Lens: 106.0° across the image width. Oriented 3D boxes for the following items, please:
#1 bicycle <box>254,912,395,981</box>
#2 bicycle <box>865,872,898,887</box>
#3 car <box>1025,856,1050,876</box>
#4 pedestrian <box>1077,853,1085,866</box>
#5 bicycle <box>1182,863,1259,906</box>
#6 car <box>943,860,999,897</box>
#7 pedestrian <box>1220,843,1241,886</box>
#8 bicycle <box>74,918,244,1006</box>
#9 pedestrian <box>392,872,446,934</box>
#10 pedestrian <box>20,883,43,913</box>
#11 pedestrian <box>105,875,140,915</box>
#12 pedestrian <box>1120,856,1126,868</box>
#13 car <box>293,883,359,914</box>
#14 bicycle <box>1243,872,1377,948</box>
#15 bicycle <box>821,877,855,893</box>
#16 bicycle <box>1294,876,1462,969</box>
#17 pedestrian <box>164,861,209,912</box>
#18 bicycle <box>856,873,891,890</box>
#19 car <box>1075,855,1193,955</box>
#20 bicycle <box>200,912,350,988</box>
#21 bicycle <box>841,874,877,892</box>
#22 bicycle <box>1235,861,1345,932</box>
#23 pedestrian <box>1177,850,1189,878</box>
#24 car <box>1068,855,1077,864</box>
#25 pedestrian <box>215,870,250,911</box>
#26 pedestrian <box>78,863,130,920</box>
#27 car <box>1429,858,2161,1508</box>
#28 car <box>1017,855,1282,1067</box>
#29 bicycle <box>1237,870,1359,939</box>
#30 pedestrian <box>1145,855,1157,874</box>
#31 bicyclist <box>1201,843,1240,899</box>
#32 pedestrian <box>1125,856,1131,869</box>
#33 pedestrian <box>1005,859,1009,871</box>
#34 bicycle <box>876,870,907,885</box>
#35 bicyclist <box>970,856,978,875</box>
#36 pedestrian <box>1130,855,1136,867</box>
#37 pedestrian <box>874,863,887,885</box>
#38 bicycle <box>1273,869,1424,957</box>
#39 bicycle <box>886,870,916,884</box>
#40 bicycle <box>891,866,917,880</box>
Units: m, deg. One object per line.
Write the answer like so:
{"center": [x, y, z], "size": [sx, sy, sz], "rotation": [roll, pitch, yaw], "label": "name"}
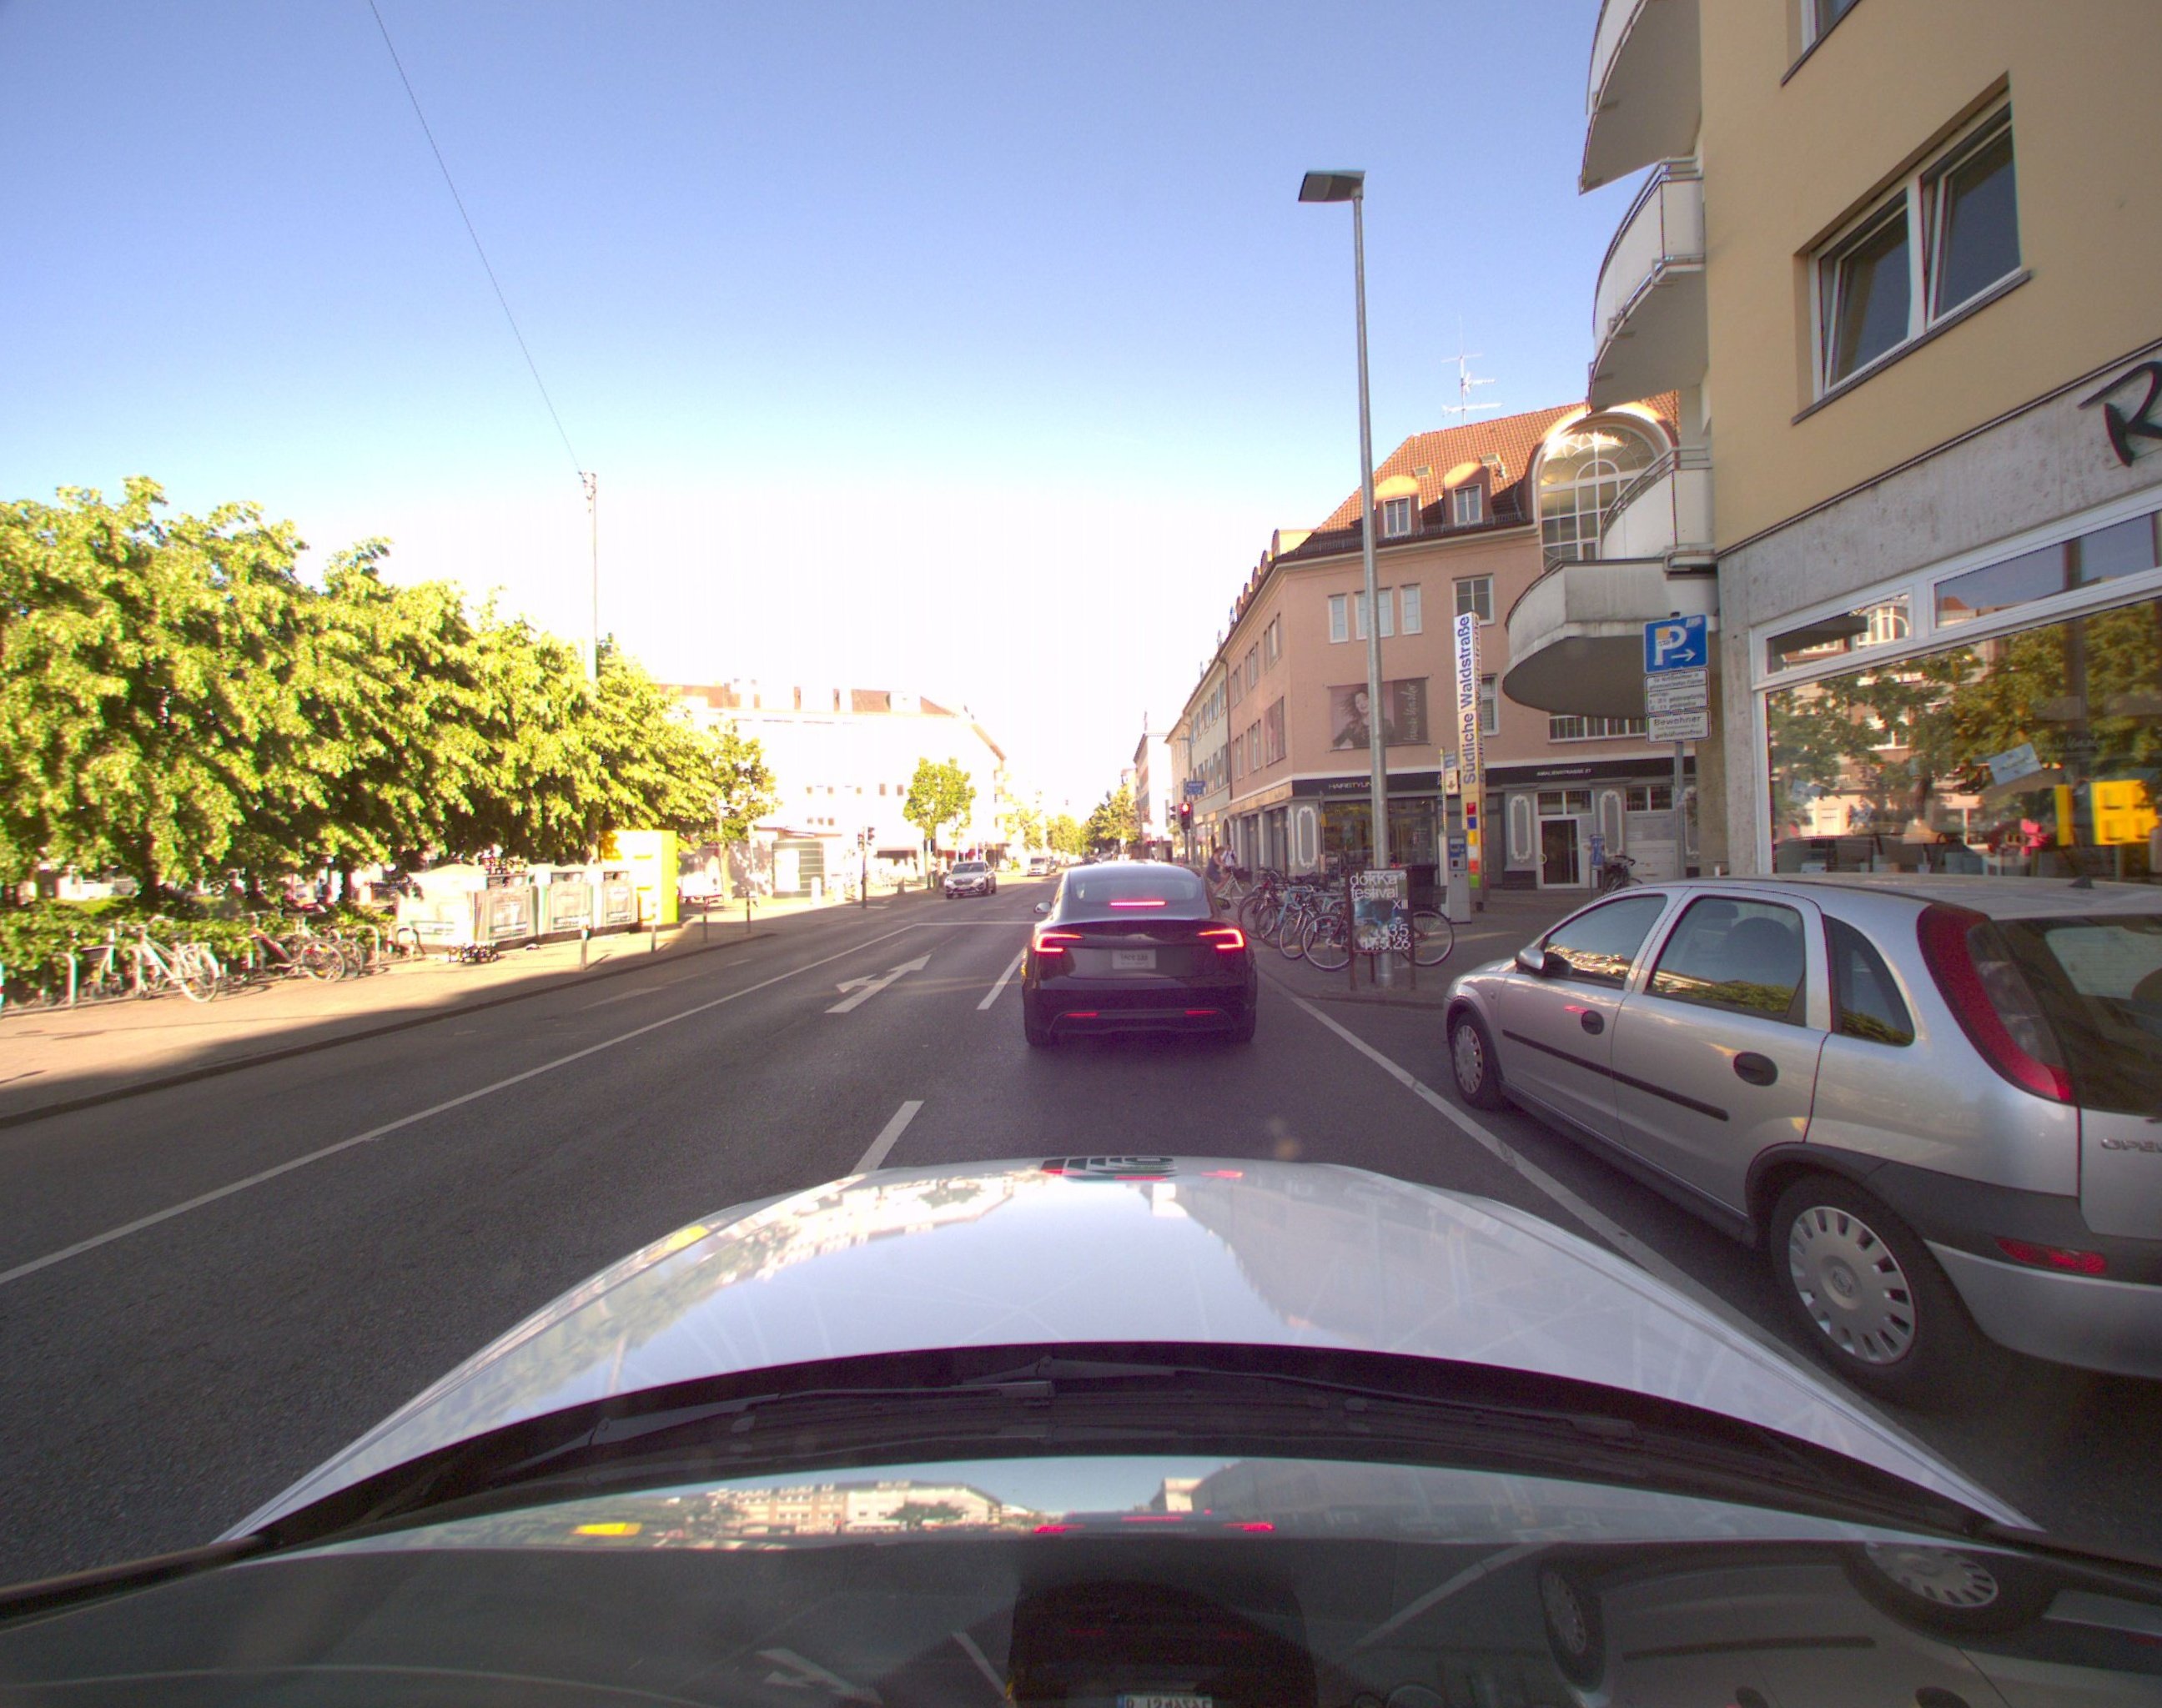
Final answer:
{"center": [-11.324, 1.374, 12.202], "size": [1.888, 0.955, 0.518], "rotation": [-1, -1, 11], "label": "bicycle"}
{"center": [-12.309, 1.565, 50.347], "size": [1.857, 0.934, 0.606], "rotation": [0, -1, 0], "label": "bicycle"}
{"center": [-3.783, 1.022, 71.487], "size": [1.780, 1.646, 4.404], "rotation": [-1, 0, 2], "label": "car"}
{"center": [0.018, 0.697, 107.543], "size": [0.719, 1.695, 0.843], "rotation": [-1, 0, -26], "label": "pedestrian"}
{"center": [3.772, 0.823, 21.965], "size": [1.918, 1.118, 0.712], "rotation": [-1, -1, 20], "label": "bicycle"}
{"center": [-4.858, 1.048, 36.419], "size": [1.782, 1.460, 3.759], "rotation": [-4, -1, 2], "label": "car"}
{"center": [6.273, 0.425, 34.301], "size": [0.747, 1.765, 0.838], "rotation": [-2, -1, 6], "label": "pedestrian"}
{"center": [-11.626, 1.342, 10.278], "size": [1.919, 1.015, 0.518], "rotation": [-1, -1, 12], "label": "bicycle"}
{"center": [-22.225, 1.638, 27.366], "size": [1.051, 2.014, 0.971], "rotation": [0, -1, -10], "label": "pedestrian"}
{"center": [-77.928, 3.267, 60.470], "size": [0.891, 2.171, 0.882], "rotation": [-1, -1, 26], "label": "pedestrian"}
{"center": [-49.685, 2.102, 42.215], "size": [0.889, 2.013, 0.894], "rotation": [-2, 0, 22], "label": "pedestrian"}
{"center": [4.951, 0.892, 95.865], "size": [0.474, 1.417, 0.517], "rotation": [0, -1, -29], "label": "pedestrian"}
{"center": [-37.277, 2.161, 40.176], "size": [3.526, 1.386, 1.703], "rotation": [-1, 0, 36], "label": "car"}
{"center": [3.489, 0.853, 12.494], "size": [1.864, 1.038, 0.534], "rotation": [-3, -1, 5], "label": "bicycle"}
{"center": [-12.840, 1.635, 43.081], "size": [1.640, 0.792, 0.606], "rotation": [0, -1, -3], "label": "bicycle"}
{"center": [3.616, 0.840, 10.003], "size": [1.862, 1.038, 0.354], "rotation": [-3, -1, 8], "label": "bicycle"}
{"center": [-36.161, 1.300, 32.931], "size": [0.890, 2.013, 0.893], "rotation": [-1, 0, 15], "label": "pedestrian"}
{"center": [-12.185, 1.618, 47.868], "size": [1.857, 0.934, 0.606], "rotation": [0, -1, 0], "label": "bicycle"}
{"center": [0.792, 0.751, 13.894], "size": [1.712, 1.425, 3.757], "rotation": [-1, 0, 0], "label": "car"}
{"center": [-11.516, 1.352, 11.642], "size": [1.913, 1.003, 0.518], "rotation": [-1, -1, 11], "label": "bicycle"}
{"center": [-12.432, 1.621, 45.654], "size": [1.857, 0.934, 0.606], "rotation": [-1, 0, 0], "label": "bicycle"}
{"center": [3.775, 0.762, 14.788], "size": [1.818, 1.169, 0.507], "rotation": [-3, -1, 7], "label": "bicycle"}
{"center": [6.541, 0.626, 52.131], "size": [0.704, 1.742, 0.540], "rotation": [-1, -1, 1], "label": "pedestrian"}
{"center": [-1.998, 1.275, 187.339], "size": [1.986, 2.013, 4.001], "rotation": [-1, 0, 2], "label": "car"}
{"center": [-36.068, 1.550, 34.619], "size": [0.754, 1.698, 0.793], "rotation": [-1, 0, 25], "label": "pedestrian"}
{"center": [-35.417, 1.335, 29.538], "size": [0.890, 2.013, 0.893], "rotation": [-1, 0, 15], "label": "pedestrian"}
{"center": [2.956, 0.730, 3.503], "size": [1.540, 1.390, 3.479], "rotation": [-1, -1, 3], "label": "car"}
{"center": [0.539, 0.762, 7.667], "size": [1.815, 1.442, 4.001], "rotation": [-1, -1, 2], "label": "car"}
{"center": [3.607, 0.840, 13.636], "size": [1.863, 1.038, 0.548], "rotation": [-3, -1, 7], "label": "bicycle"}
{"center": [5.949, 0.918, 69.336], "size": [0.756, 1.631, 0.951], "rotation": [0, -1, -16], "label": "pedestrian"}
{"center": [3.767, 0.466, 21.968], "size": [0.883, 1.482, 0.705], "rotation": [-1, -1, 19], "label": "bicyclist"}
{"center": [5.482, 0.981, 95.105], "size": [0.524, 1.422, 0.475], "rotation": [0, -1, -28], "label": "pedestrian"}
{"center": [-8.976, 1.289, 99.171], "size": [0.459, 1.460, 0.517], "rotation": [-1, 0, -3], "label": "pedestrian"}
{"center": [-12.267, 1.534, 52.656], "size": [1.857, 0.934, 0.606], "rotation": [-1, 0, 0], "label": "bicycle"}
{"center": [-8.734, 0.926, 66.448], "size": [0.525, 1.503, 0.473], "rotation": [0, -1, -21], "label": "bicyclist"}
{"center": [6.078, 0.838, 95.899], "size": [0.524, 1.422, 0.475], "rotation": [0, -1, -28], "label": "pedestrian"}
{"center": [-18.457, 1.846, 74.857], "size": [1.060, 2.014, 1.049], "rotation": [0, -1, -18], "label": "pedestrian"}
{"center": [3.648, 0.808, 11.195], "size": [1.864, 1.087, 0.415], "rotation": [-3, -1, 5], "label": "bicycle"}
{"center": [-12.187, 1.553, 55.105], "size": [1.857, 0.934, 0.606], "rotation": [-1, 0, 0], "label": "bicycle"}
{"center": [-17.089, 1.821, 78.599], "size": [2.373, 1.296, 0.509], "rotation": [0, -1, -25], "label": "bicycle"}
